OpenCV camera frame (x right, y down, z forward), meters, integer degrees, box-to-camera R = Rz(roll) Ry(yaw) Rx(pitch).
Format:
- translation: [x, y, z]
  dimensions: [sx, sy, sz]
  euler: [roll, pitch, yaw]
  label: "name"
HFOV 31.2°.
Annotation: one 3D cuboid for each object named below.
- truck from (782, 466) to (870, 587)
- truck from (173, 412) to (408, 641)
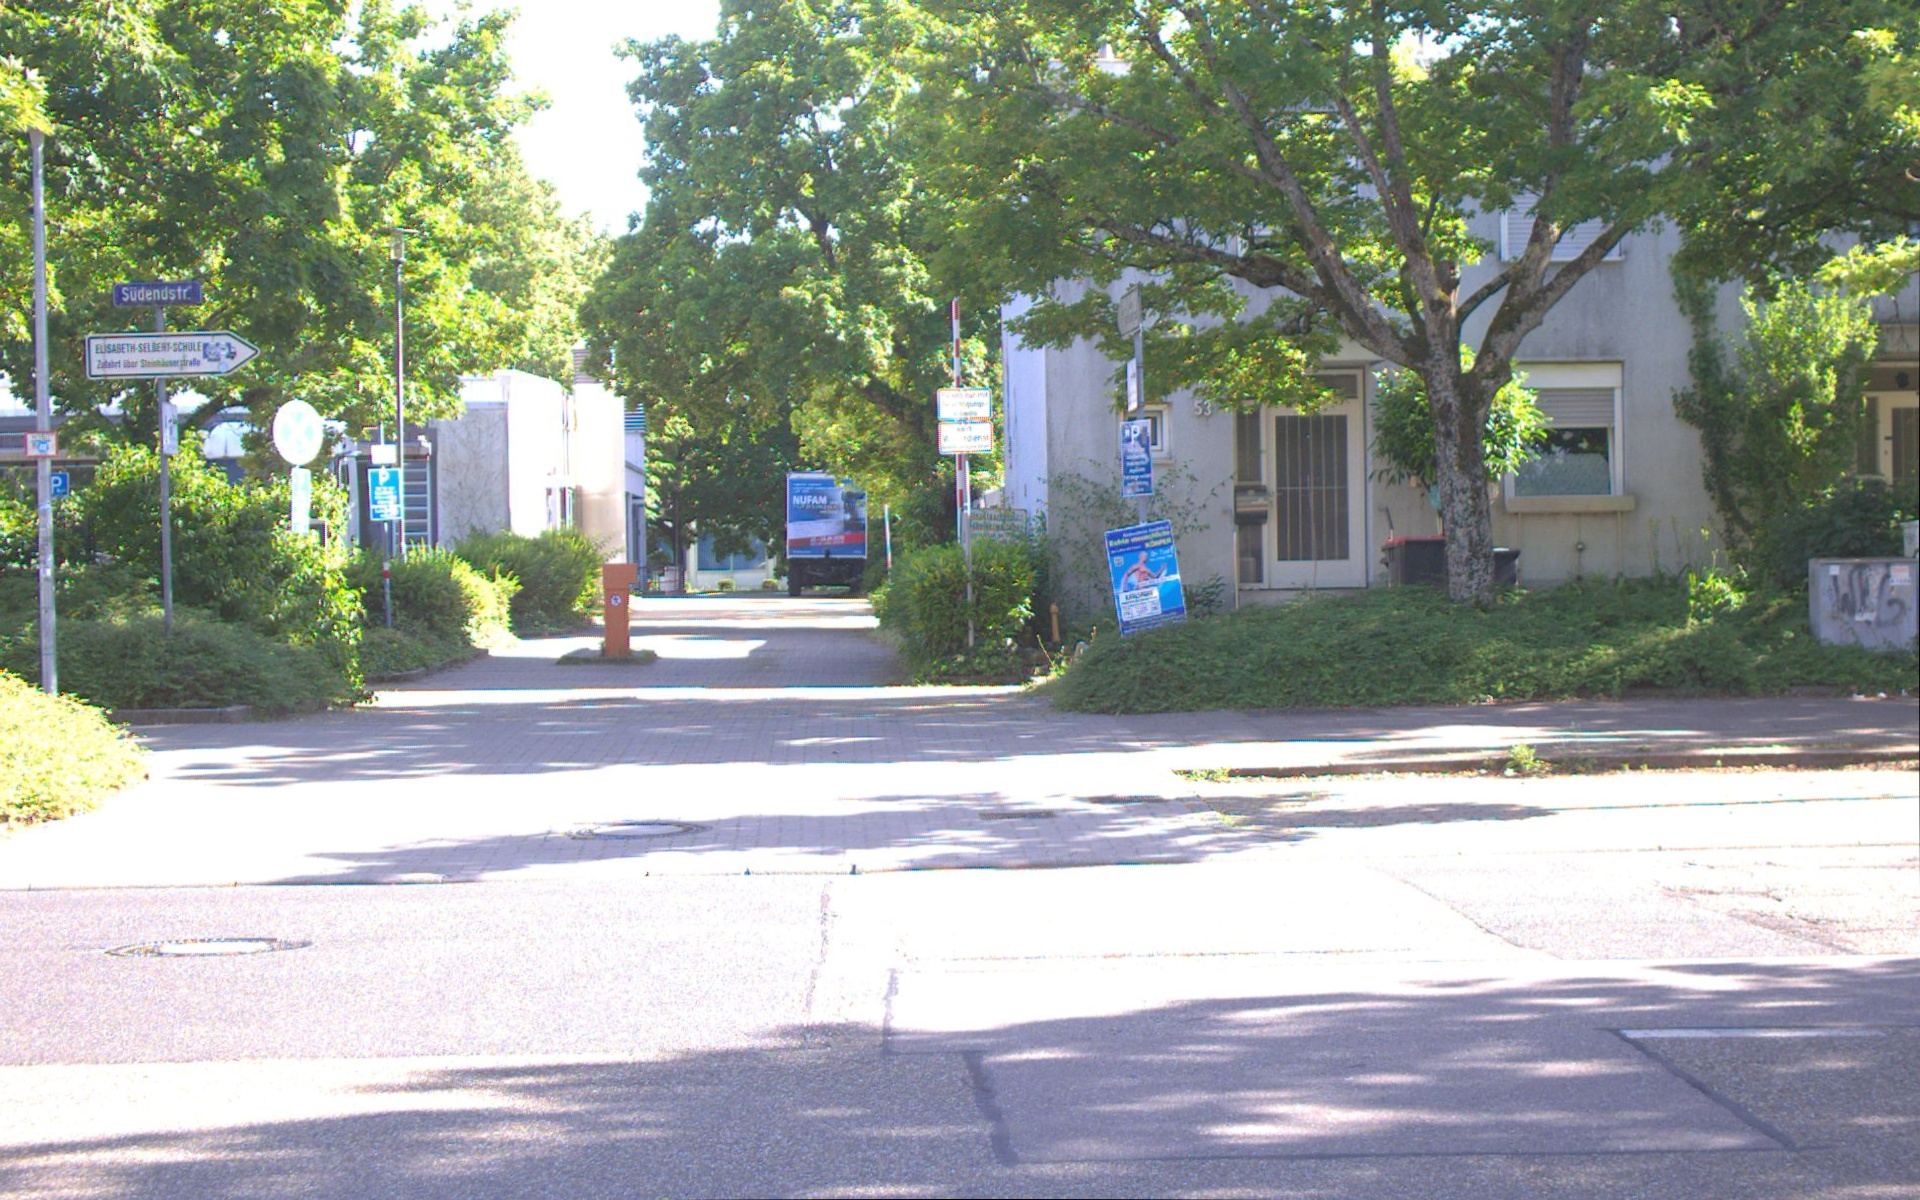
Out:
- translation: [-4.390, -2.418, 114.221]
  dimensions: [2.760, 3.856, 9.330]
  euler: [0, 1, -1]
  label: "truck"
- translation: [-11.672, -1.289, 60.545]
  dimensions: [2.802, 3.793, 6.924]
  euler: [0, 1, 0]
  label: "truck"
